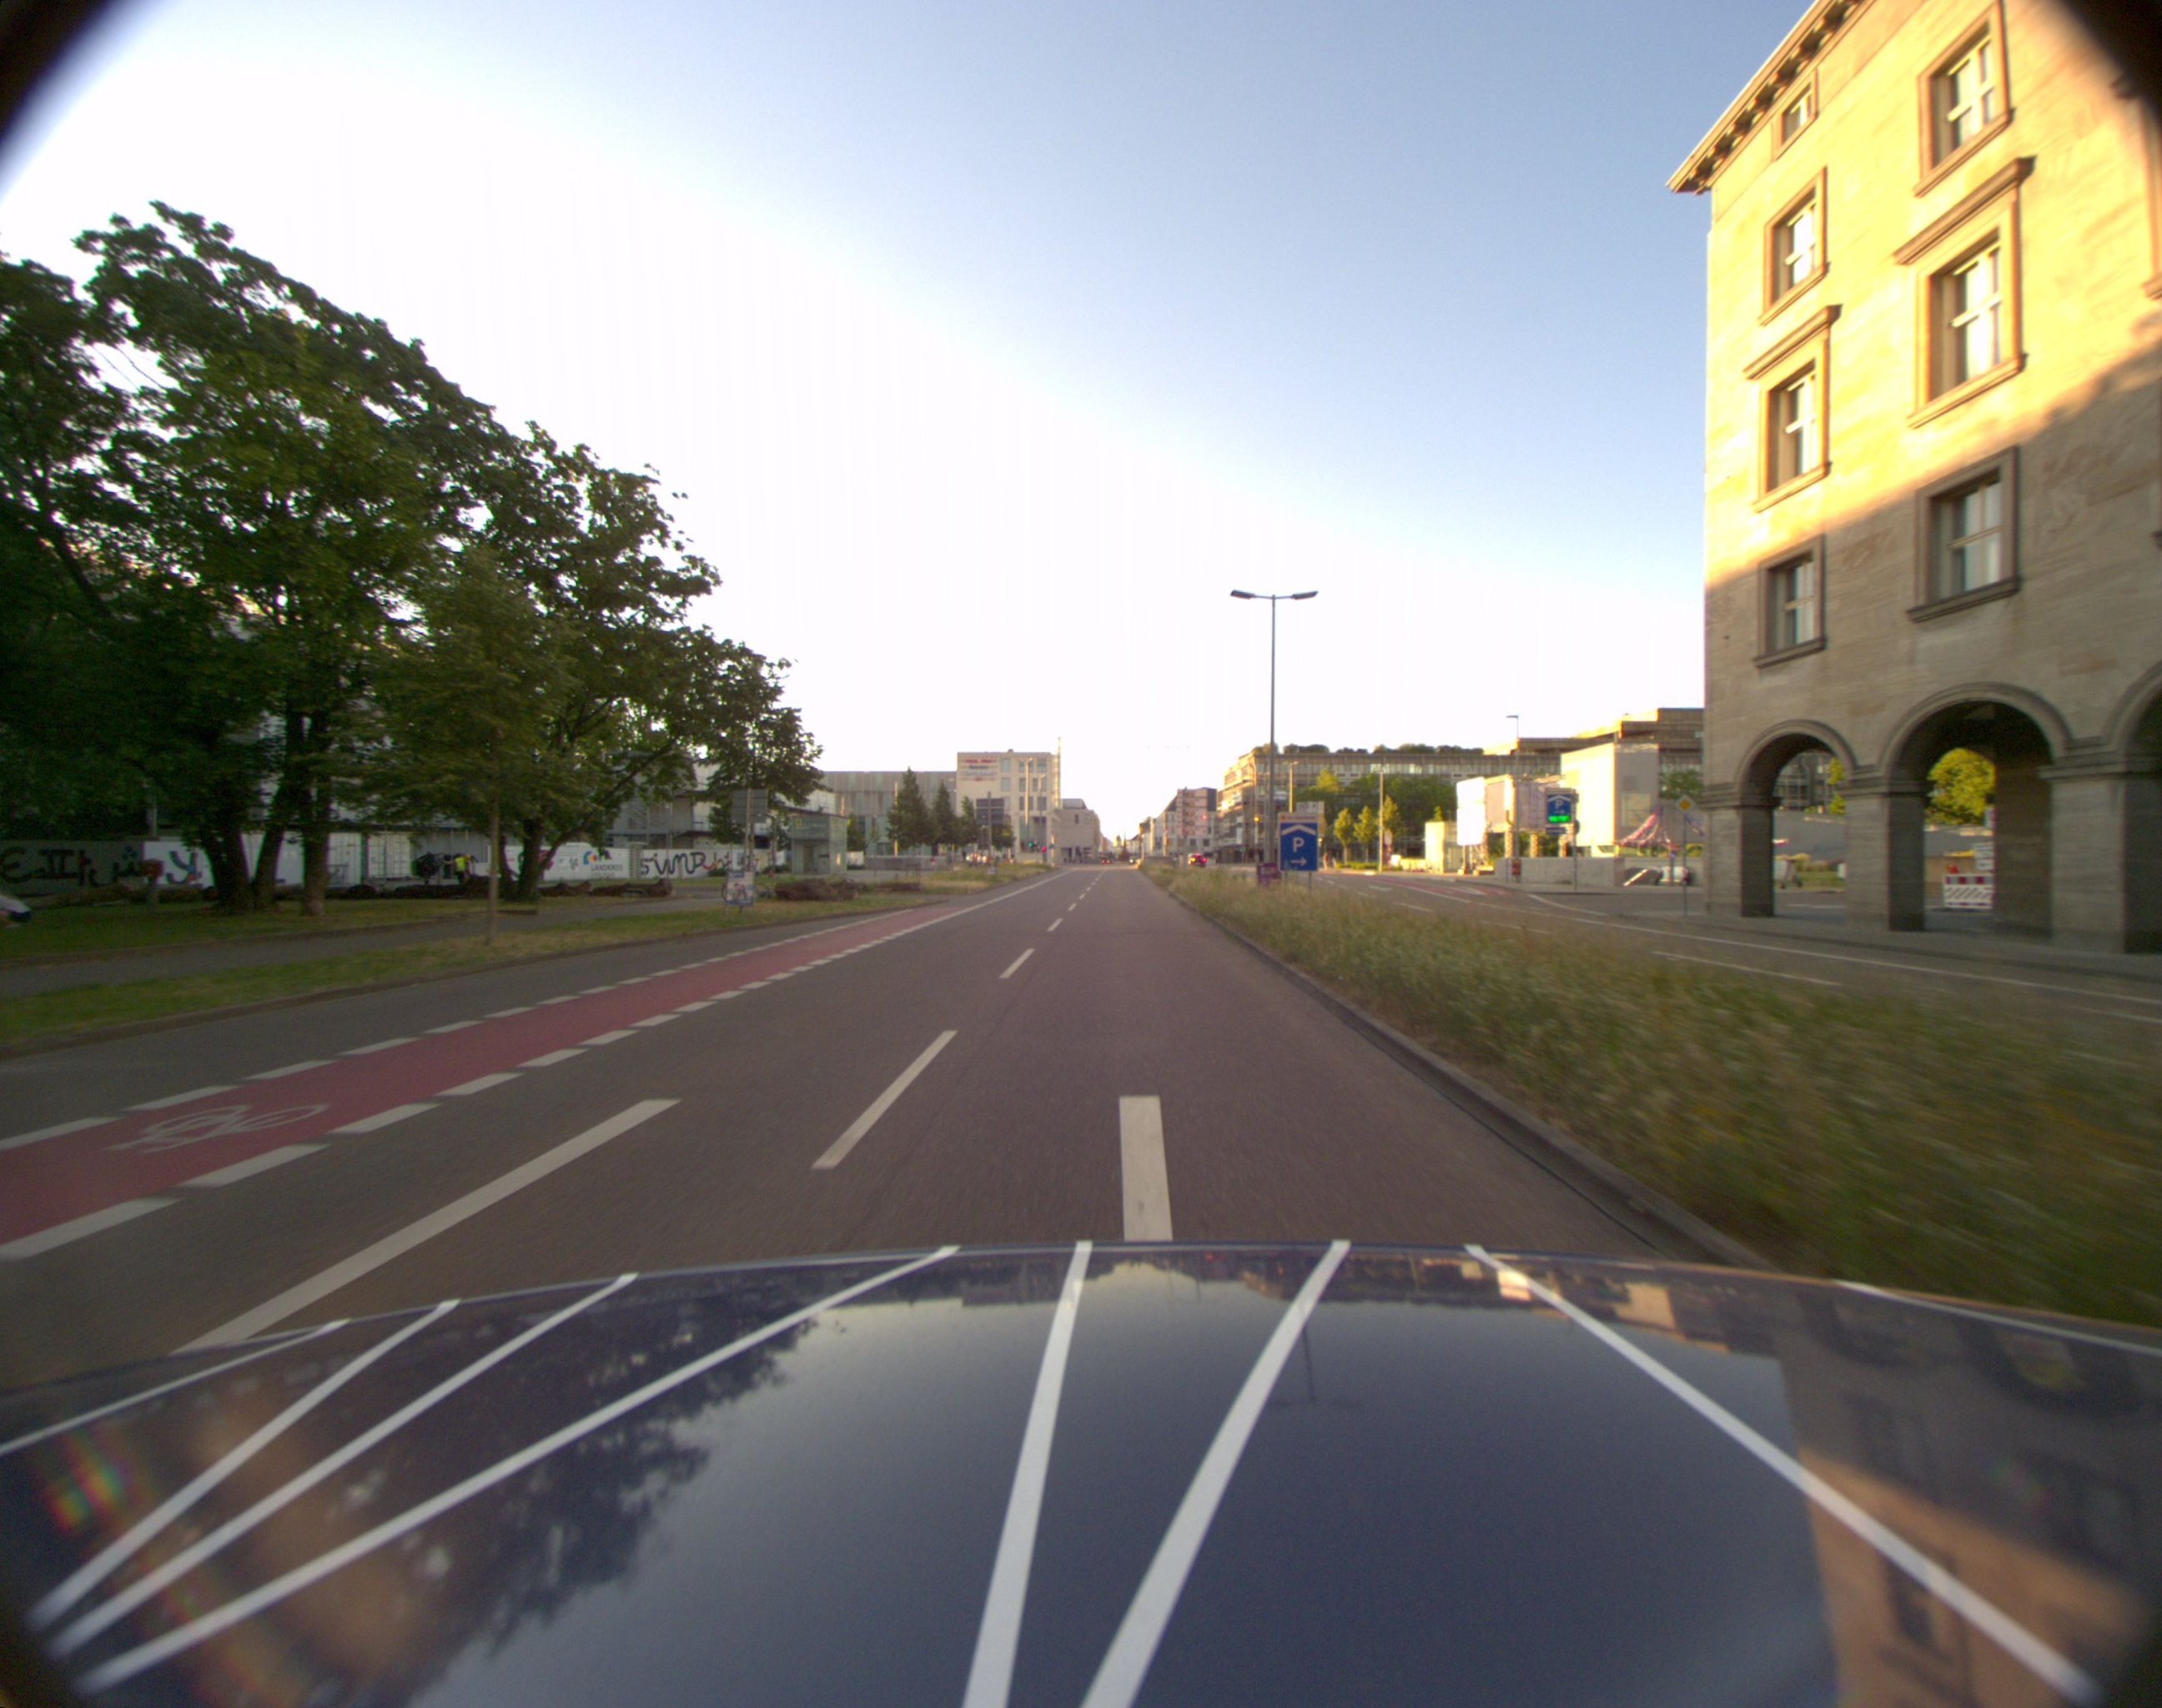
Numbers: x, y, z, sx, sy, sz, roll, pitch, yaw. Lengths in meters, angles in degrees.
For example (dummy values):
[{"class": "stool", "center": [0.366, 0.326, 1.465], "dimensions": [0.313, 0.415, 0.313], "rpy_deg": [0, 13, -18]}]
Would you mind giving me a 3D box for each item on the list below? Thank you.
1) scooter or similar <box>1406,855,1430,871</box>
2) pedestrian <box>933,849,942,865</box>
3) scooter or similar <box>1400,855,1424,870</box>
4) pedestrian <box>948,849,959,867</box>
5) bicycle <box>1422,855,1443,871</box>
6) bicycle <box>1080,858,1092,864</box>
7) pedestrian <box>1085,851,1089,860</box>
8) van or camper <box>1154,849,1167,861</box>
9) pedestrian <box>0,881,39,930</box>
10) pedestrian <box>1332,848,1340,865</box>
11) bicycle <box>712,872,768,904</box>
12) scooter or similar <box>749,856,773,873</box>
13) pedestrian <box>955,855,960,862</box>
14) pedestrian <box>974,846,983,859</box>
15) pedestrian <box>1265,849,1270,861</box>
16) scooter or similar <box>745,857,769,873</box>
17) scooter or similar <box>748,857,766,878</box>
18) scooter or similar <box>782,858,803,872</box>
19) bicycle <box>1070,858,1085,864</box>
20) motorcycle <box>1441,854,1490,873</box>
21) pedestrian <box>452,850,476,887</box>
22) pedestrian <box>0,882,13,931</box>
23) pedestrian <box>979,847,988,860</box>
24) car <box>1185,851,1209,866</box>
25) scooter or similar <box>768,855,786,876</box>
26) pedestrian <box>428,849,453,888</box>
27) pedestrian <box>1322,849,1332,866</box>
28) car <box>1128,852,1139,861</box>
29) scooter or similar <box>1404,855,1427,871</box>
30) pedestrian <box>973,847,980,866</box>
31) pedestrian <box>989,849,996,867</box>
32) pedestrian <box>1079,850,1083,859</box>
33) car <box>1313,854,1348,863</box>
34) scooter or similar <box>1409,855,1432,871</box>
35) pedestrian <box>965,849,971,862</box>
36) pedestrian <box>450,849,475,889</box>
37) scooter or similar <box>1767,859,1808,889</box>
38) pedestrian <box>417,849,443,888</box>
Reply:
[{"class": "scooter or similar", "center": [28.700, 0.767, 64.717], "dimensions": [1.835, 1.297, 0.423], "rpy_deg": [0, 1, -4]}, {"class": "pedestrian", "center": [-13.727, 0.302, 72.520], "dimensions": [0.762, 1.481, 0.644], "rpy_deg": [0, -1, -1]}, {"class": "scooter or similar", "center": [28.639, 0.761, 65.709], "dimensions": [1.863, 1.297, 0.500], "rpy_deg": [0, 1, -4]}, {"class": "pedestrian", "center": [-12.807, 0.391, 76.578], "dimensions": [0.816, 1.804, 1.047], "rpy_deg": [0, 0, 8]}, {"class": "bicycle", "center": [28.803, 0.739, 62.267], "dimensions": [0.618, 1.316, 2.509], "rpy_deg": [0, 0, 1]}, {"class": "bicycle", "center": [1.025, 1.525, 159.896], "dimensions": [2.507, 1.316, 0.619], "rpy_deg": [0, 1, 2]}, {"class": "pedestrian", "center": [1.142, 0.336, 141.595], "dimensions": [0.764, 1.695, 0.835], "rpy_deg": [0, -3, 1]}, {"class": "van or camper", "center": [17.921, 0.150, 171.659], "dimensions": [2.232, 2.650, 6.163], "rpy_deg": [0, -1, -1]}, {"class": "pedestrian", "center": [-20.112, 0.956, 14.094], "dimensions": [0.682, 0.879, 0.622], "rpy_deg": [0, 1, -22]}, {"class": "pedestrian", "center": [27.766, 0.275, 82.785], "dimensions": [0.660, 1.922, 0.648], "rpy_deg": [0, 0, 4]}, {"class": "bicycle", "center": [-11.542, 1.141, 25.787], "dimensions": [0.494, 1.000, 1.901], "rpy_deg": [3, 1, 22]}, {"class": "scooter or similar", "center": [-24.728, 0.807, 58.742], "dimensions": [1.573, 1.213, 0.474], "rpy_deg": [-1, 1, 0]}, {"class": "pedestrian", "center": [-17.148, 0.644, 105.529], "dimensions": [0.649, 0.957, 0.654], "rpy_deg": [0, 1, -3]}, {"class": "pedestrian", "center": [-14.555, -0.196, 108.011], "dimensions": [0.896, 1.843, 0.724], "rpy_deg": [1, 2, -31]}, {"class": "pedestrian", "center": [29.071, 0.151, 118.257], "dimensions": [0.644, 1.920, 0.681], "rpy_deg": [0, 1, 0]}, {"class": "scooter or similar", "center": [-24.694, 0.824, 57.924], "dimensions": [1.573, 1.213, 0.474], "rpy_deg": [-1, 1, 0]}, {"class": "scooter or similar", "center": [-19.441, 0.816, 45.636], "dimensions": [0.474, 1.213, 1.574], "rpy_deg": [2, 0, -4]}, {"class": "scooter or similar", "center": [-25.165, 0.974, 66.321], "dimensions": [1.573, 1.213, 0.474], "rpy_deg": [-1, 1, 0]}, {"class": "bicycle", "center": [-0.682, 1.407, 150.175], "dimensions": [2.804, 1.209, 0.765], "rpy_deg": [0, 0, 12]}, {"class": "motorcycle", "center": [29.425, 0.719, 58.167], "dimensions": [3.241, 1.375, 0.840], "rpy_deg": [-1, 1, 1]}, {"class": "pedestrian", "center": [-30.622, 0.721, 37.714], "dimensions": [0.768, 1.810, 0.601], "rpy_deg": [0, 1, 17]}, {"class": "pedestrian", "center": [-19.849, 0.952, 13.560], "dimensions": [0.682, 0.879, 0.592], "rpy_deg": [0, 1, -22]}, {"class": "pedestrian", "center": [-13.790, -0.066, 107.866], "dimensions": [0.892, 1.843, 1.007], "rpy_deg": [3, 2, 15]}, {"class": "car", "center": [11.759, 0.424, 77.510], "dimensions": [1.891, 1.457, 4.538], "rpy_deg": [0, 0, 2]}, {"class": "scooter or similar", "center": [-18.262, 0.693, 45.663], "dimensions": [0.424, 1.213, 1.399], "rpy_deg": [3, 0, 3]}, {"class": "pedestrian", "center": [-30.904, 0.696, 36.660], "dimensions": [0.768, 1.845, 0.601], "rpy_deg": [0, 1, 17]}, {"class": "pedestrian", "center": [26.797, 0.414, 82.845], "dimensions": [0.874, 1.826, 0.776], "rpy_deg": [0, 1, 4]}, {"class": "car", "center": [10.330, 0.424, 148.739], "dimensions": [2.071, 1.642, 4.000], "rpy_deg": [0, 2, 4]}, {"class": "scooter or similar", "center": [28.689, 0.770, 65.201], "dimensions": [1.792, 1.297, 0.417], "rpy_deg": [0, 1, -4]}, {"class": "pedestrian", "center": [-10.875, 0.247, 79.005], "dimensions": [0.644, 1.922, 0.619], "rpy_deg": [0, 1, 5]}, {"class": "pedestrian", "center": [-9.331, 0.417, 79.866], "dimensions": [0.644, 1.922, 0.619], "rpy_deg": [0, 1, 3]}, {"class": "pedestrian", "center": [-0.010, 0.129, 138.610], "dimensions": [0.764, 1.696, 0.834], "rpy_deg": [0, 0, -3]}, {"class": "car", "center": [41.739, 0.782, 127.150], "dimensions": [5.159, 1.575, 2.000], "rpy_deg": [0, 0, 2]}, {"class": "scooter or similar", "center": [28.718, 0.763, 64.274], "dimensions": [1.840, 1.297, 0.423], "rpy_deg": [0, 1, -4]}, {"class": "pedestrian", "center": [-15.852, 0.204, 106.475], "dimensions": [0.604, 1.843, 0.587], "rpy_deg": [0, 1, 7]}, {"class": "pedestrian", "center": [-29.594, 0.720, 36.350], "dimensions": [0.768, 1.908, 0.601], "rpy_deg": [0, 1, 17]}, {"class": "scooter or similar", "center": [29.815, 0.833, 32.061], "dimensions": [1.568, 1.217, 0.545], "rpy_deg": [0, 1, -16]}, {"class": "pedestrian", "center": [-31.820, 0.683, 37.138], "dimensions": [0.768, 1.890, 0.601], "rpy_deg": [0, 1, 17]}]
